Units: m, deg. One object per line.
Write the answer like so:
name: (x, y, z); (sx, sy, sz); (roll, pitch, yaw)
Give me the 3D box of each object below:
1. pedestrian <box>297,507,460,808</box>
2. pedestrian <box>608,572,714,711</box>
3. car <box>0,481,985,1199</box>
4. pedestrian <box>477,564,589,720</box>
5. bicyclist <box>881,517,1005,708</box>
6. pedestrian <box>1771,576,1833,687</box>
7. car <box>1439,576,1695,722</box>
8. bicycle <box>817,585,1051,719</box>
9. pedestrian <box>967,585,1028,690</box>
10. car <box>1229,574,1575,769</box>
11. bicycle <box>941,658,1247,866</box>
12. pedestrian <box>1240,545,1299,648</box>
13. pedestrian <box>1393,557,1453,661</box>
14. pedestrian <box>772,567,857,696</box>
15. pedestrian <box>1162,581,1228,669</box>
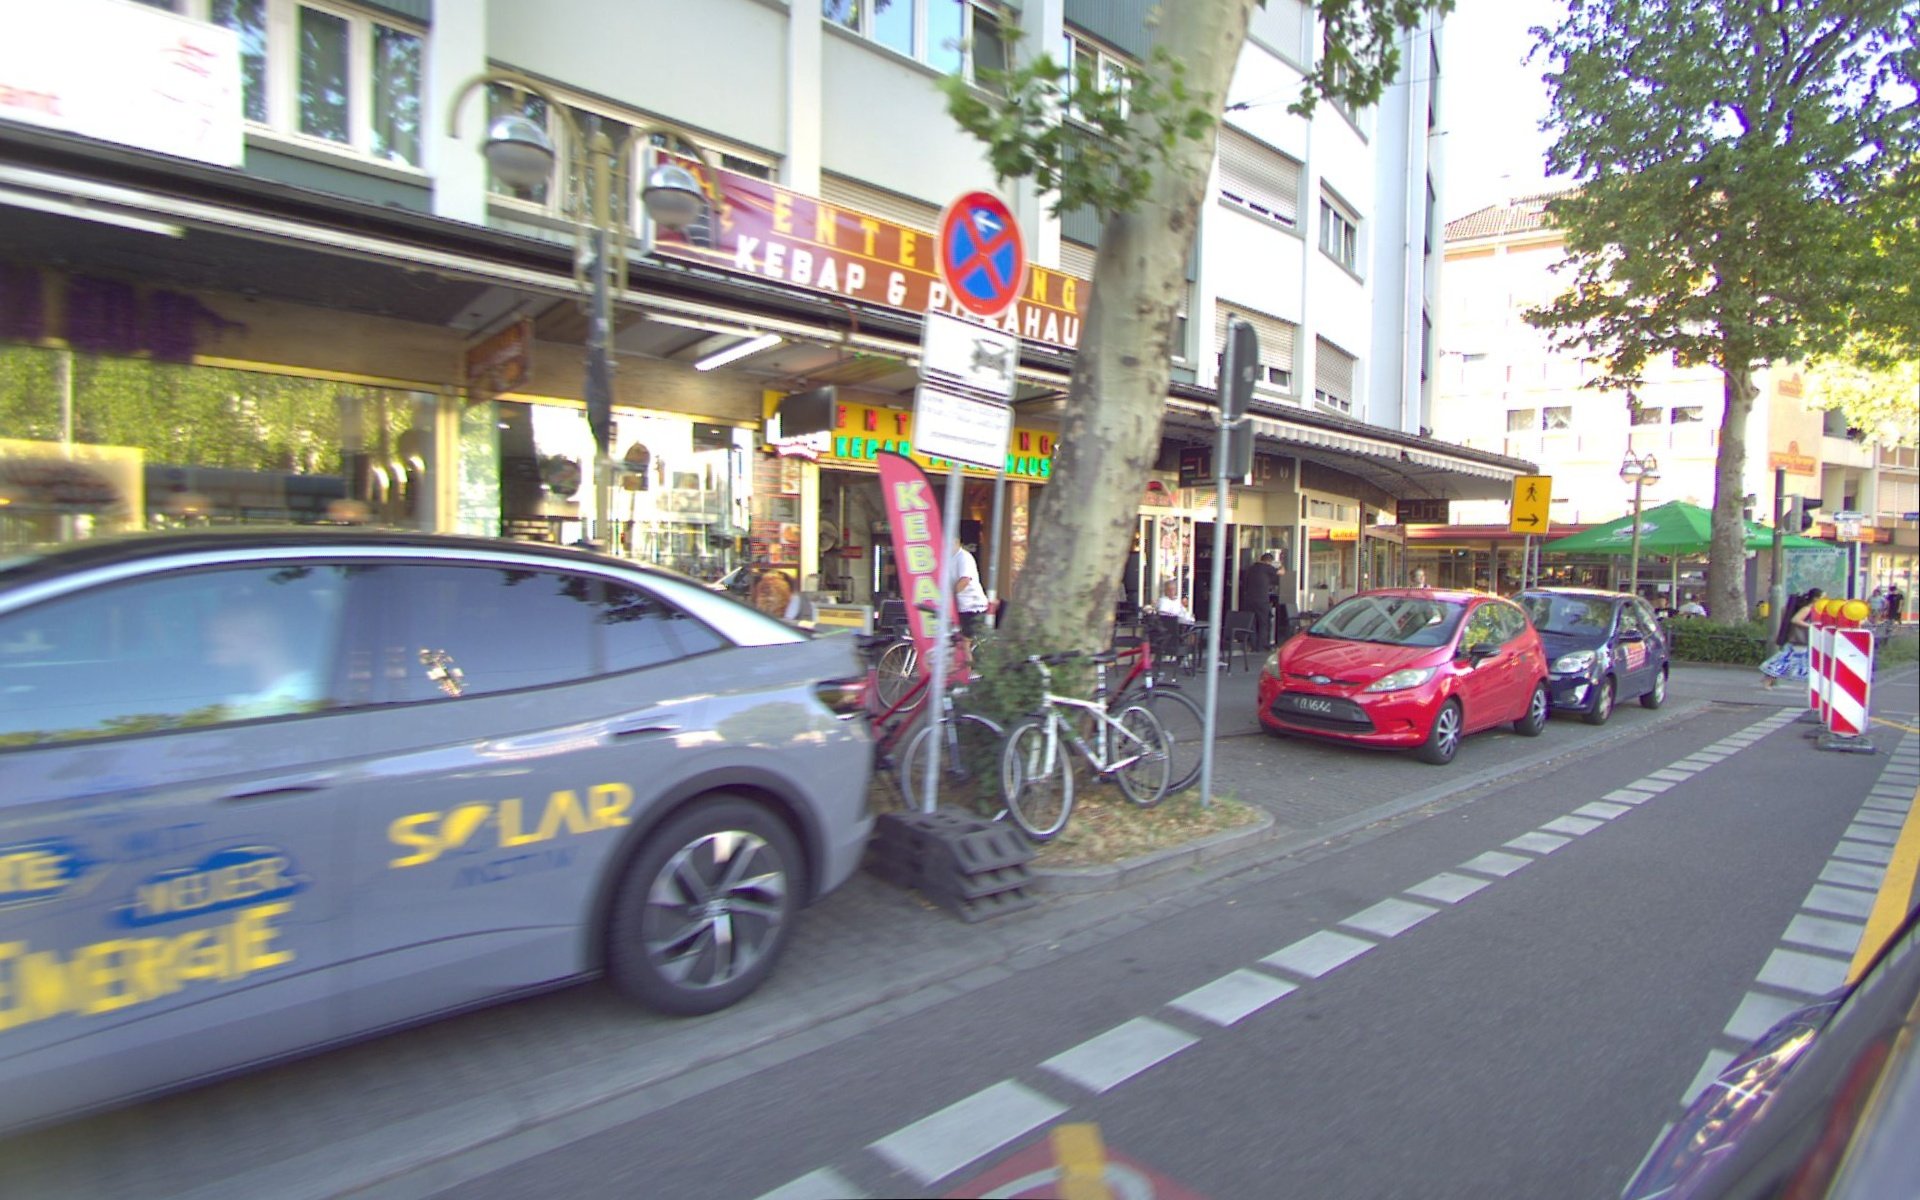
pedestrian: (-3.379, 0.289, 5.871); (0.666, 1.605, 0.709); (0, 3, -43)
pedestrian: (-2.747, 0.357, 9.305); (0.698, 1.191, 0.677); (0, 2, -42)
car: (-2.257, 0.503, 3.274); (4.713, 1.617, 1.920); (0, 3, -45)
pedestrian: (-3.635, 0.328, 8.611); (0.698, 1.243, 0.677); (0, 2, -41)
bicyclist: (-0.168, 0.094, 9.770); (0.815, 1.729, 0.771); (0, 4, -41)
pedestrian: (12.332, 0.445, 14.827); (0.464, 1.580, 0.622); (0, 1, -42)
car: (7.654, 0.503, 12.635); (3.735, 1.497, 1.658); (0, 3, -42)
bicycle: (-0.207, 0.443, 9.777); (2.227, 1.117, 0.778); (0, 4, -40)
pedestrian: (0.432, 0.409, 11.541); (0.514, 1.148, 0.504); (3, 2, 27)
car: (4.455, 0.532, 9.918); (3.919, 1.460, 1.732); (0, 3, -45)
bicycle: (0.861, 0.872, 6.011); (2.004, 0.895, 0.625); (0, 4, -42)
pedestrian: (5.339, -0.074, 17.476); (0.666, 1.730, 0.709); (0, 1, -40)
pedestrian: (7.305, 0.135, 15.969); (0.631, 1.579, 0.584); (0, 3, -39)
pedestrian: (-1.525, 0.304, 10.575); (0.596, 1.281, 0.645); (0, 2, -42)
pedestrian: (3.307, 0.342, 14.271); (0.613, 1.161, 0.601); (0, 5, -41)
